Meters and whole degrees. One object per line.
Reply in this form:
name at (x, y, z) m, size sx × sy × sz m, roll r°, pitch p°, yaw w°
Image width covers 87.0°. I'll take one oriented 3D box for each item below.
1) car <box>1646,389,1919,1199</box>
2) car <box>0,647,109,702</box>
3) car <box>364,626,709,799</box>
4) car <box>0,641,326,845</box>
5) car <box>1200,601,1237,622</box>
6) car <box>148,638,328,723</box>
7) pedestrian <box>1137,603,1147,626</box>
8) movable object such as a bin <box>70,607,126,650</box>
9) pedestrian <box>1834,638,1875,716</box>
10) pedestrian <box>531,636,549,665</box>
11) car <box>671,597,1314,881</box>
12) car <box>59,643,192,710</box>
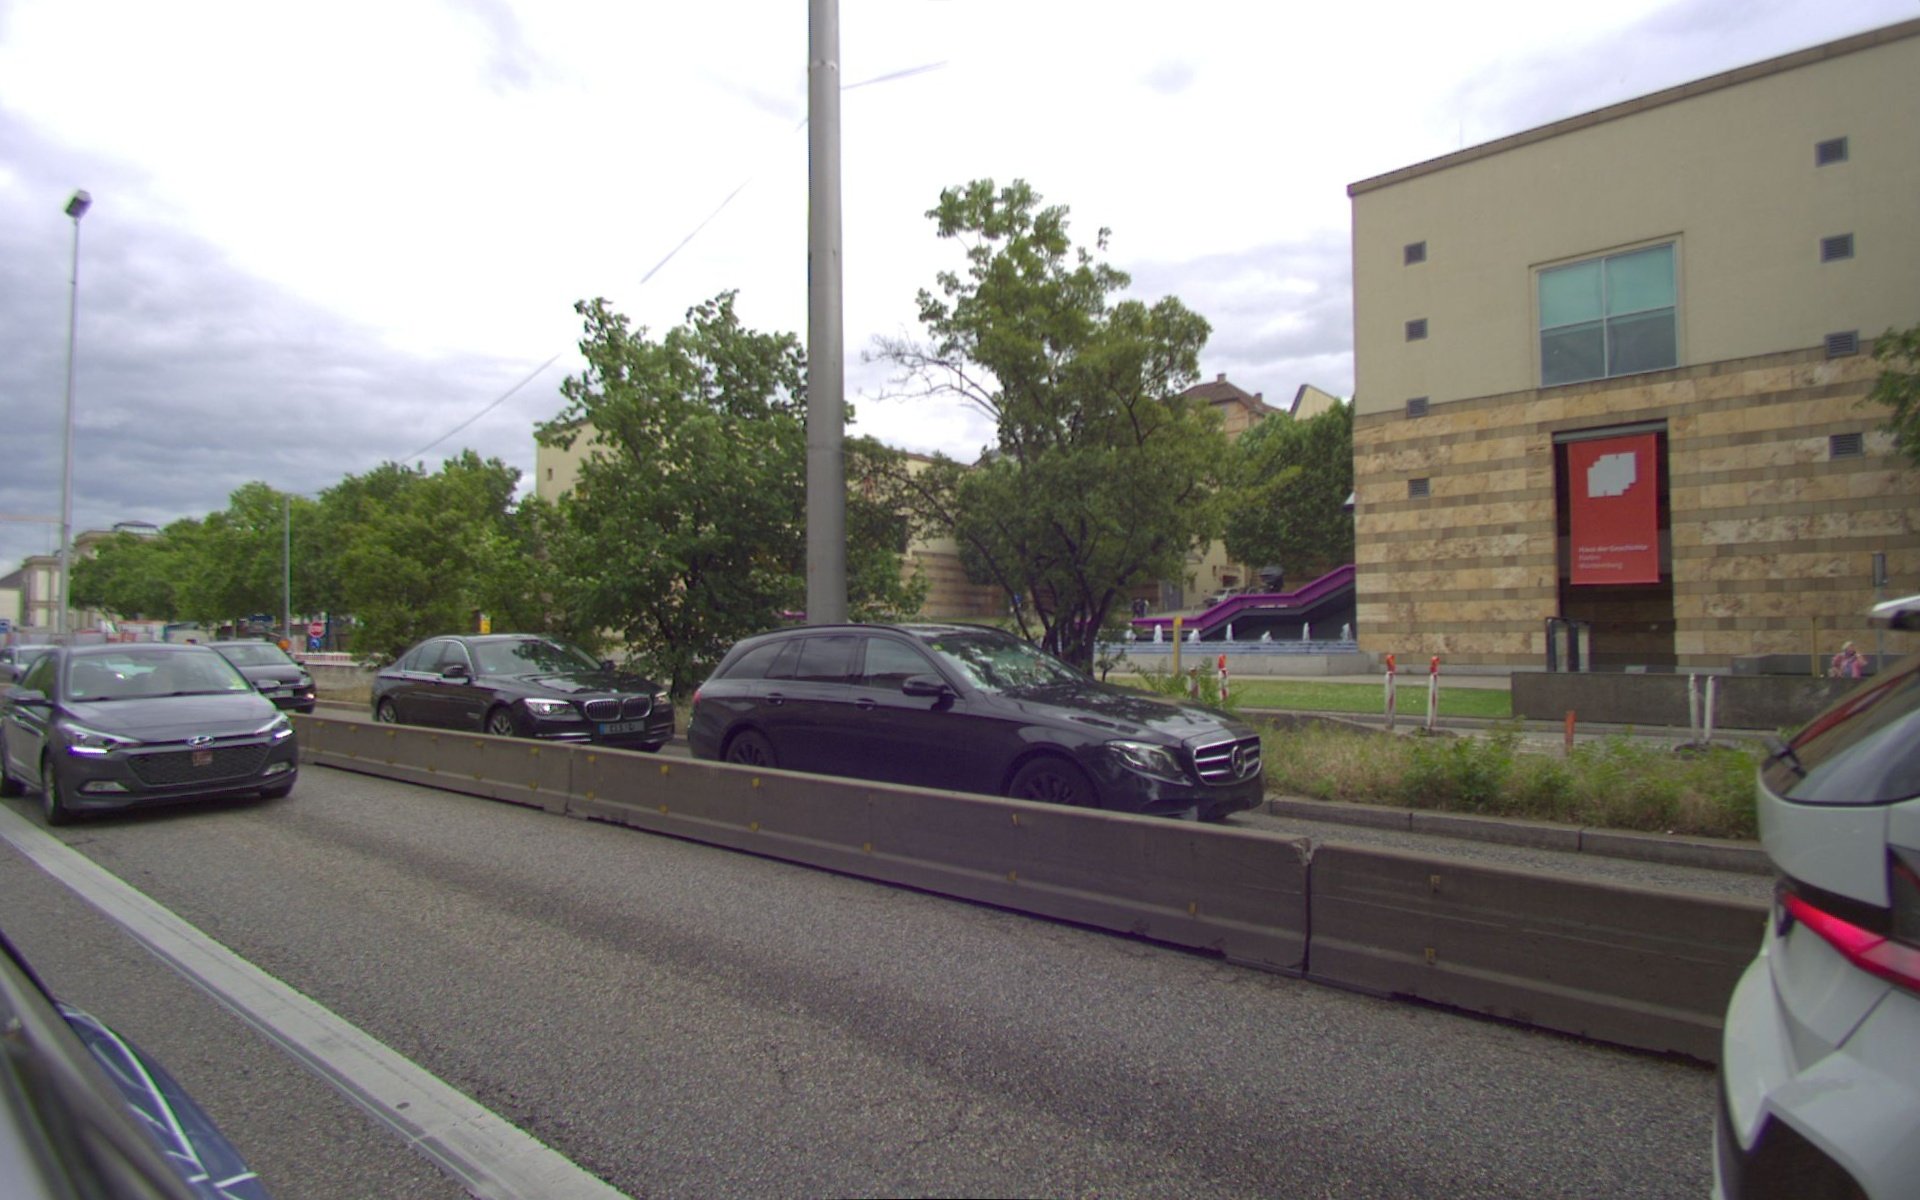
car at (3.371, 0.525, 0.420) m, size 4.904 × 1.640 × 1.832 m, roll -2°, pitch -2°, yaw 41°
car at (-27.384, 2.162, 30.055) m, size 4.687 × 1.492 × 1.864 m, roll -2°, pitch -2°, yaw 31°
car at (-5.243, 1.174, 12.133) m, size 4.935 × 1.648 × 1.903 m, roll -2°, pitch -2°, yaw 42°
car at (-7.694, 1.135, 9.350) m, size 4.012 × 1.448 × 1.781 m, roll -2°, pitch -2°, yaw 36°
car at (23.608, 1.055, 92.482) m, size 1.610 × 1.811 × 3.753 m, roll -3°, pitch -2°, yaw 43°
car at (-14.060, 1.493, 19.636) m, size 4.190 × 1.465 × 1.644 m, roll -2°, pitch -2°, yaw 37°
pedestrian at (13.821, 1.118, 76.848) m, size 0.477 × 1.762 × 0.638 m, roll -2°, pitch -2°, yaw 39°
movable object such as a bin at (-46.130, 1.557, 54.145) m, size 3.286 × 2.202 × 1.508 m, roll -2°, pitch -3°, yaw 36°
pedestrian at (18.249, 1.556, 20.647) m, size 0.562 × 1.543 × 0.519 m, roll -3°, pitch -3°, yaw 43°
pedestrian at (-29.358, 3.512, 70.699) m, size 0.814 × 2.029 × 0.836 m, roll -2°, pitch -1°, yaw 41°
car at (-0.029, 0.834, 7.640) m, size 4.765 × 1.511 × 1.798 m, roll -2°, pitch -3°, yaw 40°
car at (-21.010, 1.866, 25.454) m, size 3.846 × 1.518 × 1.658 m, roll -2°, pitch -2°, yaw 36°
